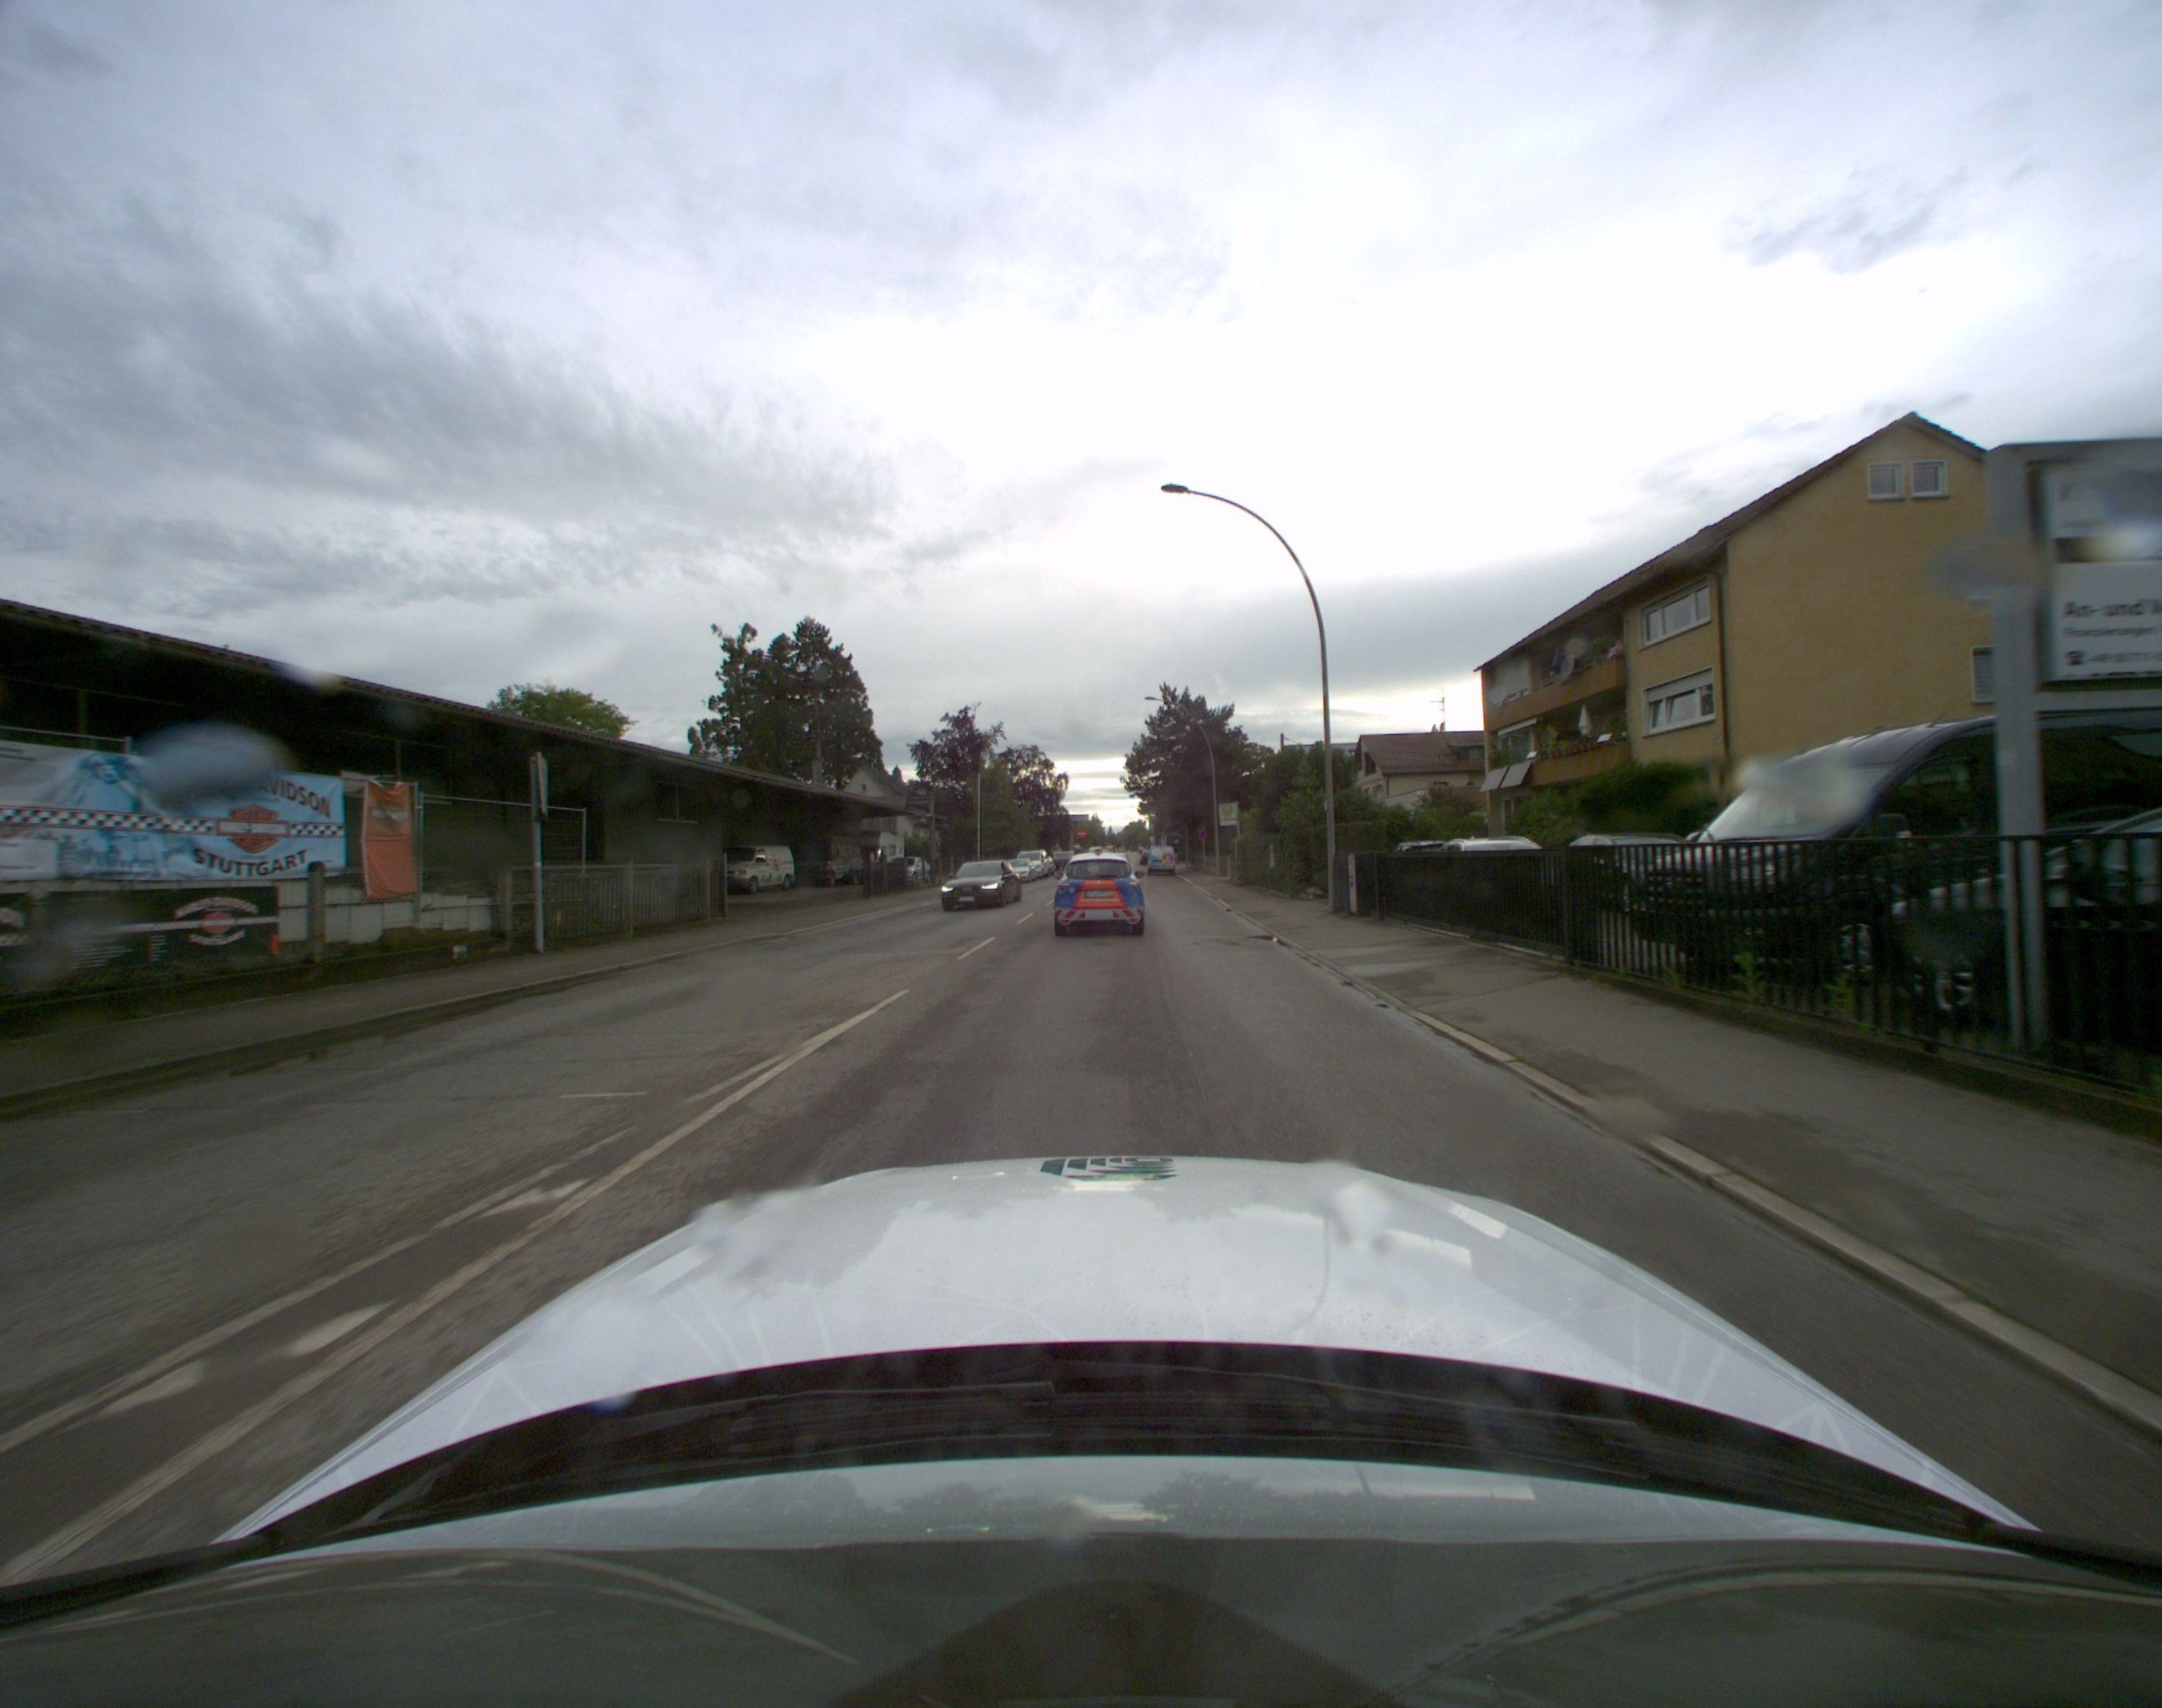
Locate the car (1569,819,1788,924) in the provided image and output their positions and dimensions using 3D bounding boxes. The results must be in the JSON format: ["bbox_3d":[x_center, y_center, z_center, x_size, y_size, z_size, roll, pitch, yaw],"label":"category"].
[{"bbox_3d":[10.745,0.338,15.062,1.870,1.651,4.113,0,-2,14],"label":"car"}]

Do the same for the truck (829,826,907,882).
[{"bbox_3d":[-11.713,0.026,45.358,2.384,2.927,5.962,0,-1,3],"label":"truck"}]

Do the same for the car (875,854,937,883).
[{"bbox_3d":[-9.241,0.738,43.399,1.928,1.444,4.787,-1,-1,4],"label":"car"}]

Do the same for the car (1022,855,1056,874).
[{"bbox_3d":[-3.059,0.736,60.401,1.985,1.288,4.005,-2,0,4],"label":"car"}]

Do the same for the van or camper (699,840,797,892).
[{"bbox_3d":[-13.282,0.460,32.792,1.986,1.909,4.473,0,0,1],"label":"van or camper"}]

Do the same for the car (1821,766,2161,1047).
[{"bbox_3d":[6.867,0.299,4.549,1.653,1.567,4.573,0,-2,6],"label":"car"}]

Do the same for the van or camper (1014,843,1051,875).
[{"bbox_3d":[-3.197,0.382,54.816,1.882,2.014,5.100,0,-2,3],"label":"van or camper"}]

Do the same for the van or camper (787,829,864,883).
[{"bbox_3d":[-12.294,0.179,39.650,1.852,2.438,5.236,1,-2,2],"label":"van or camper"}]

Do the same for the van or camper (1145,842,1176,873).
[{"bbox_3d":[5.116,0.217,53.049,1.747,1.883,4.003,-1,0,2],"label":"van or camper"}]

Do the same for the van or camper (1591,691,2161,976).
[{"bbox_3d":[8.818,-0.154,8.229,5.879,2.486,2.133,-1,-2,3],"label":"van or camper"}]

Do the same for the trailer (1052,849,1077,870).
[{"bbox_3d":[-1.620,0.568,81.877,2.212,2.014,4.438,0,-2,2],"label":"trailer"}]

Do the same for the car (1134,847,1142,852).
[{"bbox_3d":[15.911,-1.268,227.835,1.986,1.585,4.003,-2,0,2],"label":"car"}]

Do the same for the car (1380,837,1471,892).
[{"bbox_3d":[10.620,0.284,25.383,1.652,1.547,4.010,-1,0,8],"label":"car"}]

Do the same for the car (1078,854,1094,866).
[{"bbox_3d":[0.694,0.869,112.936,1.986,1.596,4.001,0,-2,2],"label":"car"}]

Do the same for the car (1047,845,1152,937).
[{"bbox_3d":[0.394,0.664,16.817,1.882,1.632,4.001,-1,0,1],"label":"car"}]

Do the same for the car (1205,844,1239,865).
[{"bbox_3d":[10.387,0.065,60.351,1.985,1.486,4.002,0,-2,3],"label":"car"}]

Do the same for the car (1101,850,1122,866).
[{"bbox_3d":[3.229,0.393,84.846,1.985,1.420,4.005,-4,1,4],"label":"car"}]

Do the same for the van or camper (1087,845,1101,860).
[{"bbox_3d":[2.279,-0.219,136.700,2.152,2.353,4.336,-2,0,2],"label":"van or camper"}]

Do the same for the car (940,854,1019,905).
[{"bbox_3d":[-3.141,0.823,26.152,1.735,1.451,4.545,-2,-2,2],"label":"car"}]

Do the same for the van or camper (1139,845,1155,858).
[{"bbox_3d":[9.321,-0.321,114.983,1.986,1.784,4.003,-2,0,2],"label":"van or camper"}]

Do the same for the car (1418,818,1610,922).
[{"bbox_3d":[8.038,0.335,15.740,2.105,1.651,5.255,0,-2,14],"label":"car"}]

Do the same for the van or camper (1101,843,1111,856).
[{"bbox_3d":[5.465,-1.040,176.812,1.986,2.775,5.444,-2,0,2],"label":"van or camper"}]

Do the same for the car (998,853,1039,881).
[{"bbox_3d":[-3.674,0.800,48.294,1.734,1.480,4.188,-3,-2,4],"label":"car"}]

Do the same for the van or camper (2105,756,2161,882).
[{"bbox_3d":[21.472,-0.704,14.471,2.061,2.410,4.420,0,-2,20],"label":"van or camper"}]

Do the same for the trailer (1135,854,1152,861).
[{"bbox_3d":[7.298,0.371,95.066,1.931,0.754,2.861,-2,0,2],"label":"trailer"}]
